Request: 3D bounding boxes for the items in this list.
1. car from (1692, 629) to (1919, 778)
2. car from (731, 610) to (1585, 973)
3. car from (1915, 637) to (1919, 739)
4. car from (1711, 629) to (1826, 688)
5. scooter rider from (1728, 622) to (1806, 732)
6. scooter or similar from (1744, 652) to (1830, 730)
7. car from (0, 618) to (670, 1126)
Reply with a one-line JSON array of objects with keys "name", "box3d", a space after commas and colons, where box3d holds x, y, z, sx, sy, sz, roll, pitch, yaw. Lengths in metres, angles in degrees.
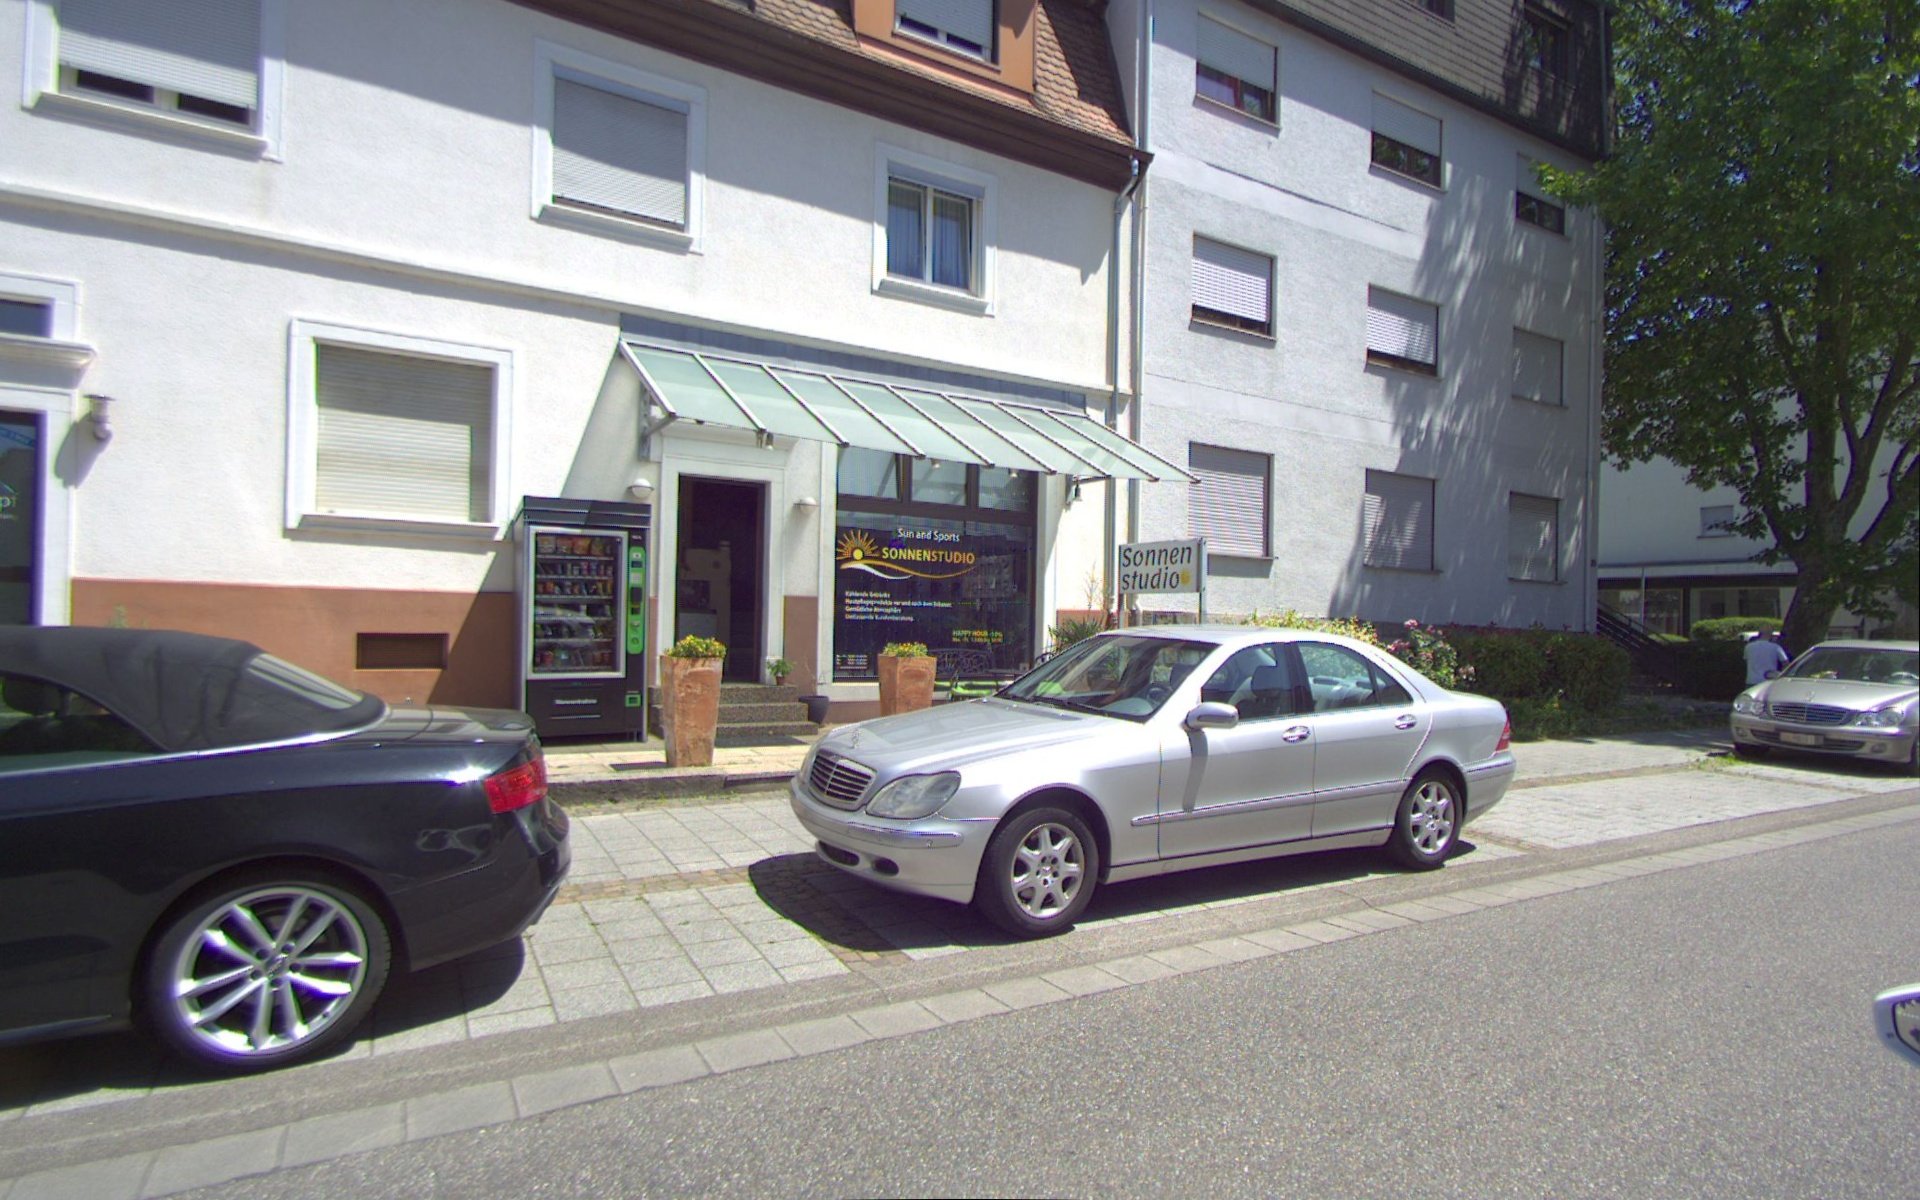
[{"name": "car", "box3d": [11.318, 1.148, 12.412, 4.813, 1.471, 1.971, 2, 0, -31]}, {"name": "car", "box3d": [1.443, 0.870, 6.343, 5.293, 1.471, 1.972, 2, 0, -30]}, {"name": "car", "box3d": [16.525, 1.340, 15.026, 5.092, 1.471, 1.971, 2, 0, -31]}, {"name": "car", "box3d": [22.459, 1.575, 28.067, 1.863, 1.506, 3.989, 0, -2, 30]}, {"name": "scooter rider", "box3d": [12.244, 1.144, 15.238, 0.866, 1.596, 0.586, 1, 1, -29]}, {"name": "scooter or similar", "box3d": [12.774, 1.380, 15.515, 1.015, 1.113, 0.660, 1, 1, -29]}, {"name": "car", "box3d": [-3.741, 0.766, 3.328, 5.037, 1.391, 1.933, 2, -1, -30]}]
